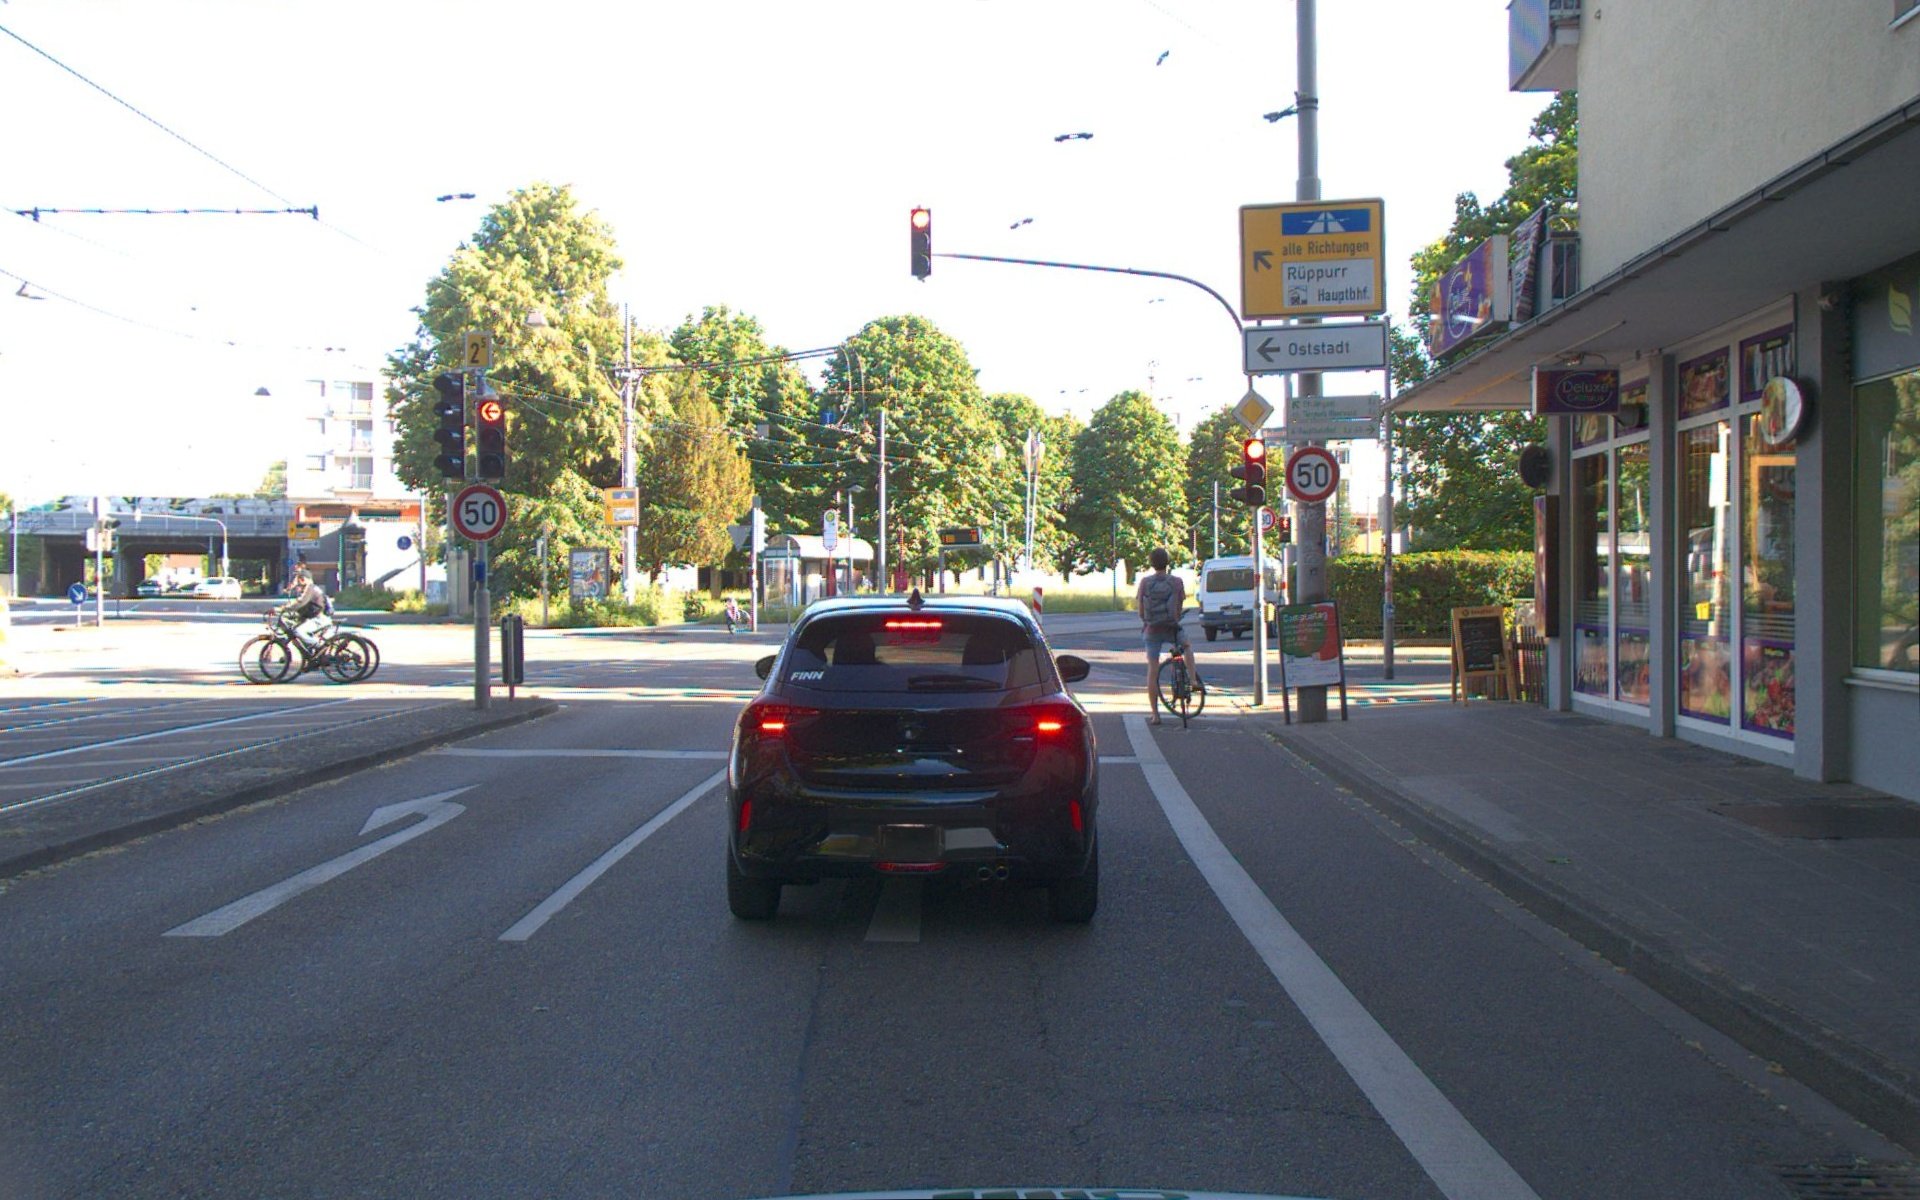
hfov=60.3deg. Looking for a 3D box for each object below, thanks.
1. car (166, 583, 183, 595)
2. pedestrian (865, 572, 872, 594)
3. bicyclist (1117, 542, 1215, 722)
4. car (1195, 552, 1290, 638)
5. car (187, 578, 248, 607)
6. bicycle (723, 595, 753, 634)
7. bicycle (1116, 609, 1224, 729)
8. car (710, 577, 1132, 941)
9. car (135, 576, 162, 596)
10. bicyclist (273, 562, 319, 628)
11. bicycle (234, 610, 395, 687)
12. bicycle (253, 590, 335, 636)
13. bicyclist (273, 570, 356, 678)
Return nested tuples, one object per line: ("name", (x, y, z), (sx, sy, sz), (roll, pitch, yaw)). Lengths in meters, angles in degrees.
("car", (-106.168, -1.491, 223.599), (1.969, 1.630, 4.211), (-1, 1, -26))
("pedestrian", (-5.938, -1.111, 107.514), (0.404, 1.437, 0.436), (2, 0, -3))
("bicyclist", (2.223, 0.333, 17.924), (0.922, 1.883, 0.864), (-1, 0, -1))
("car", (8.010, -0.157, 46.581), (2.020, 2.288, 4.890), (0, 1, 17))
("car", (-48.914, -0.518, 109.055), (1.694, 1.836, 4.192), (0, 1, 7))
("bicycle", (-6.219, 0.381, 46.376), (0.593, 1.049, 1.982), (0, 1, -1))
("bicycle", (2.238, 0.709, 17.929), (0.842, 1.173, 2.171), (-1, 1, -1))
("car", (-0.176, 0.630, 8.775), (1.692, 1.454, 4.186), (1, 0, -1))
("car", (-74.204, -1.275, 151.311), (2.186, 1.855, 4.112), (-1, 1, -26))
("bicyclist", (-16.483, -0.121, 41.081), (0.843, 1.623, 0.649), (0, 0, 21))
("bicycle", (-9.458, 0.696, 24.273), (2.162, 1.051, 0.828), (-1, 0, -24))
("bicycle", (-16.557, 0.321, 41.108), (2.012, 1.113, 0.592), (0, 0, 21))
("bicyclist", (-9.476, 0.334, 24.257), (1.098, 1.547, 0.915), (-1, 0, -24))
